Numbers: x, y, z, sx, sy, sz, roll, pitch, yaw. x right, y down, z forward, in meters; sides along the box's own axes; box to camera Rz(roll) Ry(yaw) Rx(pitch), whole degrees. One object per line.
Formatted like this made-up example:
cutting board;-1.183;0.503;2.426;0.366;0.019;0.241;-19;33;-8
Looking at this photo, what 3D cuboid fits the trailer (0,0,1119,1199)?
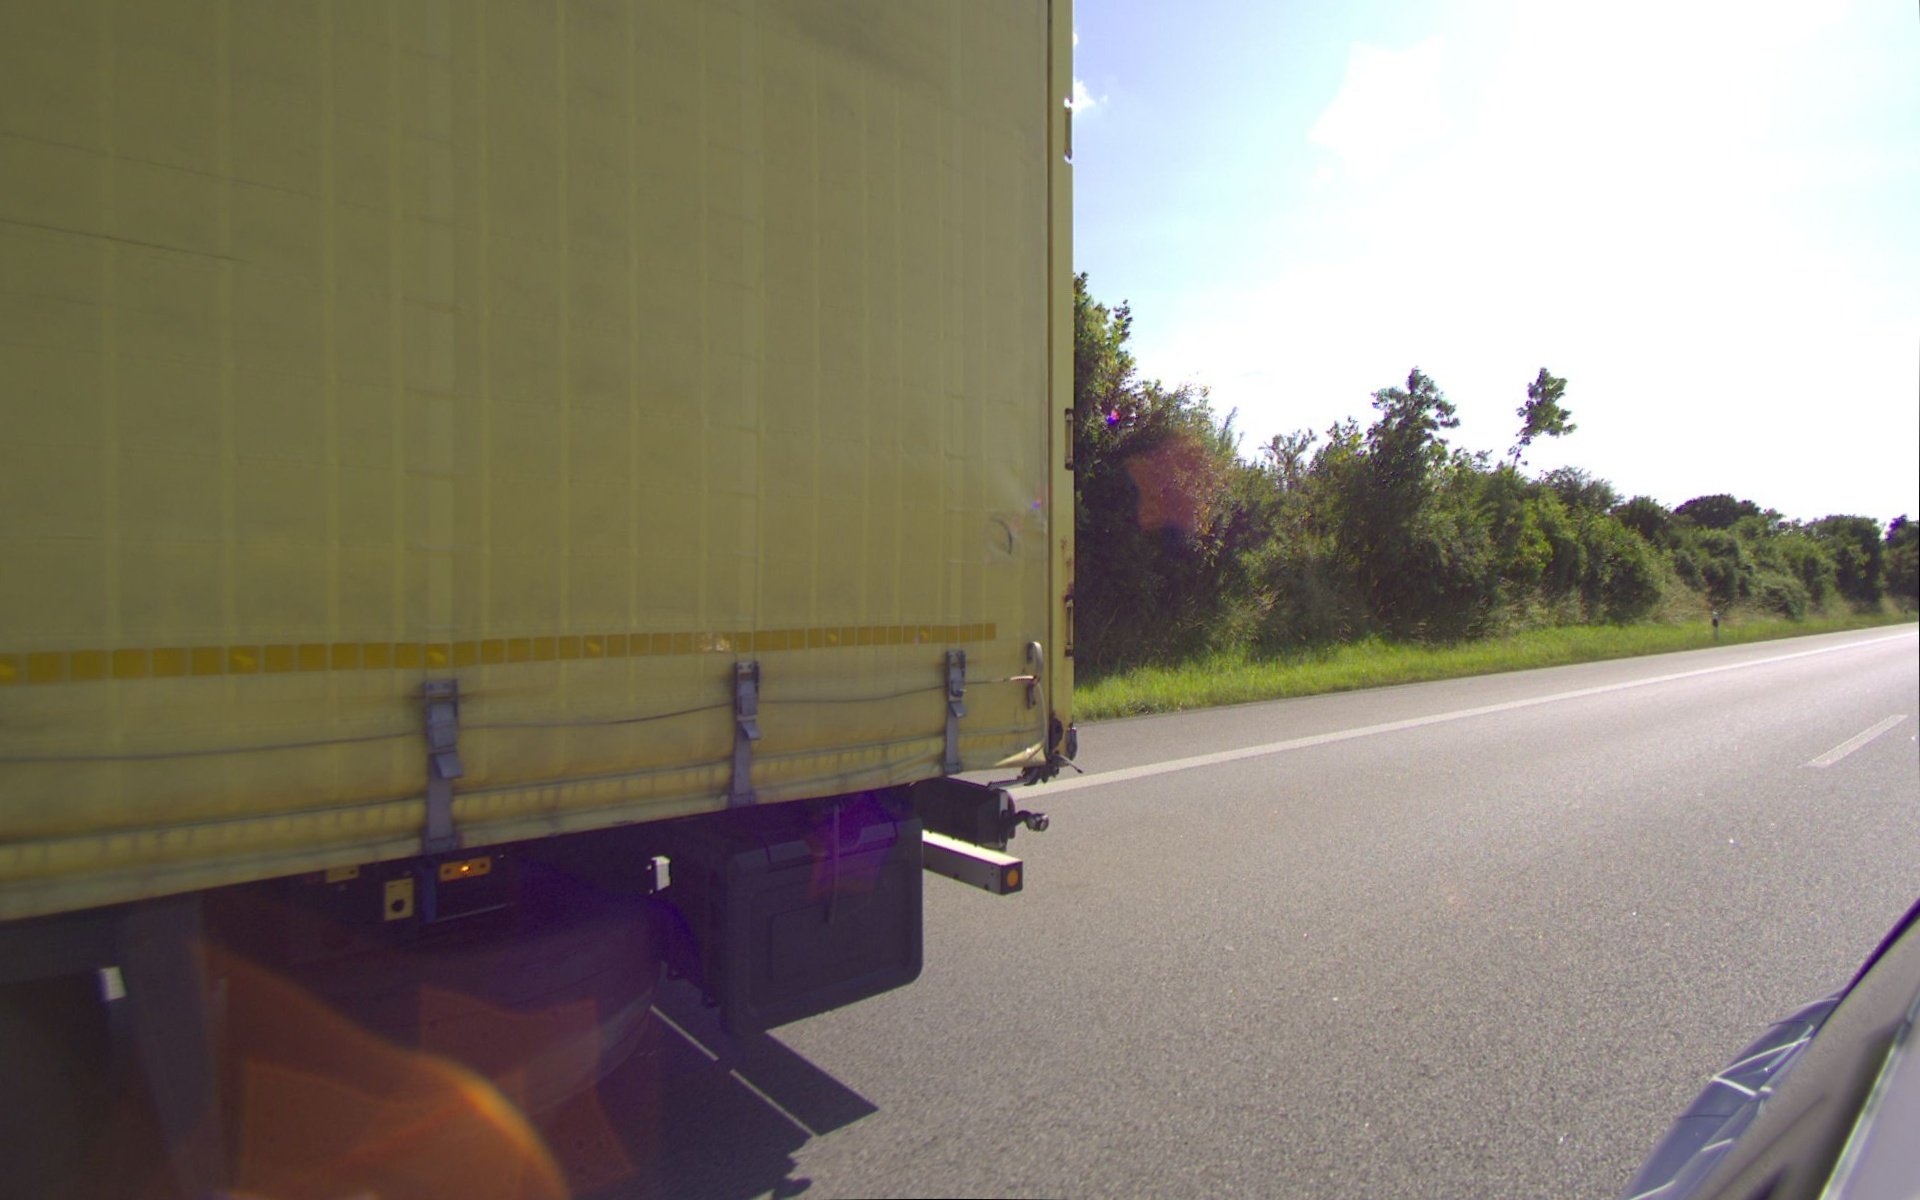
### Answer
trailer;-5.418;-0.740;0.151;12.957;4.111;3.189;-1;0;-41
